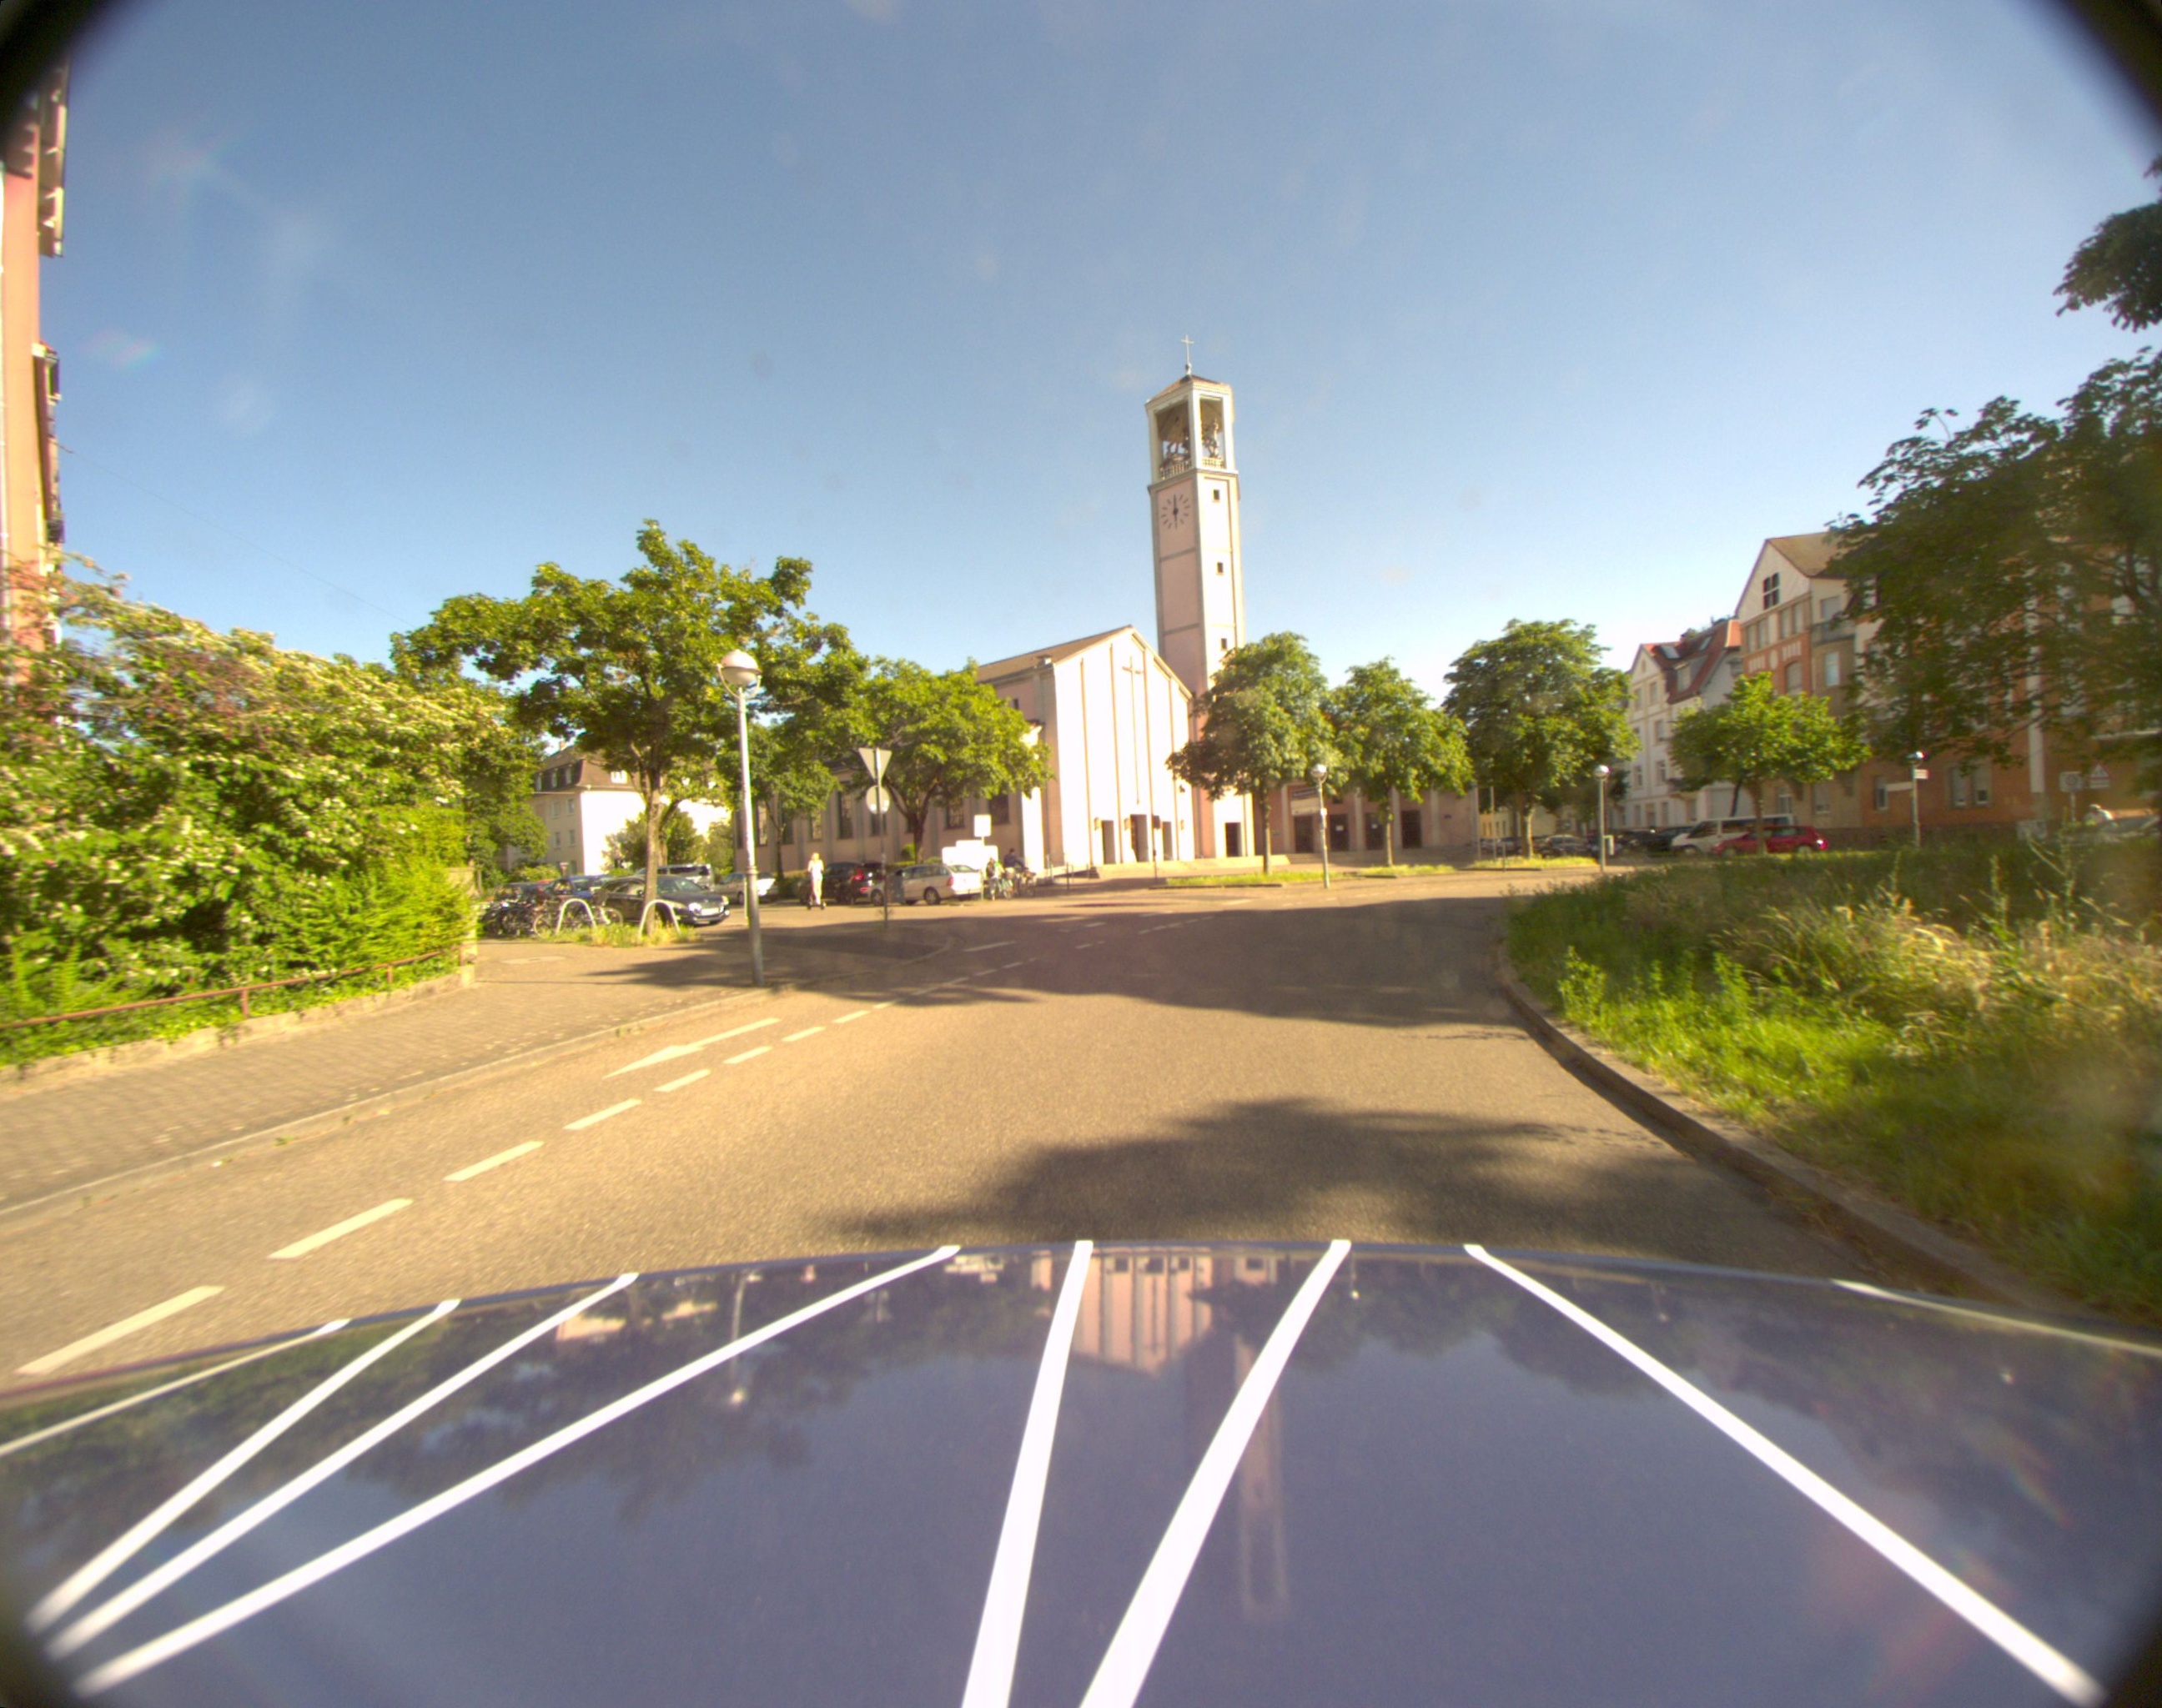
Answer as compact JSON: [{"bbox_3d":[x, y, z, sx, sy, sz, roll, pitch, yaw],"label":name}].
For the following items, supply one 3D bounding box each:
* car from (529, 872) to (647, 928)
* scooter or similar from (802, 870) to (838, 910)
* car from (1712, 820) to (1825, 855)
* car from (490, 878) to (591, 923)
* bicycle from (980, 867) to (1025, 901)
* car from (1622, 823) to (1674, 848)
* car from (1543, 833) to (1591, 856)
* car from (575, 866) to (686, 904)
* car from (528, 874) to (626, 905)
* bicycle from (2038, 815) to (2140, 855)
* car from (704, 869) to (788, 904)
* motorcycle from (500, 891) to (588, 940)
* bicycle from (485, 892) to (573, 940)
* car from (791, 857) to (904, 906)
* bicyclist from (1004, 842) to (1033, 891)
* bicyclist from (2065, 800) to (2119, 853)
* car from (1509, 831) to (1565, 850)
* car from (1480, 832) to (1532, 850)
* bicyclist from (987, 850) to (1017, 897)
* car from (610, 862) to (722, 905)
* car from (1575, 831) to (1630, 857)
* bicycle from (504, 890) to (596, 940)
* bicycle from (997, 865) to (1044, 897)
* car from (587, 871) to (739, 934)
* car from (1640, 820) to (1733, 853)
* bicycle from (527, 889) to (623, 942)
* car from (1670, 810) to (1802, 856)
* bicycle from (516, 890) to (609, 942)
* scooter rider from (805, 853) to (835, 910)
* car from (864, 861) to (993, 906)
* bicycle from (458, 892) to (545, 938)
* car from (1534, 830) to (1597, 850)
[{"bbox_3d":[-16.310,1.480,25.069,4.387,1.553,1.812,-2,3,38],"label":"car"},{"bbox_3d":[-8.587,1.185,25.016,1.103,1.275,0.633,-2,1,45],"label":"scooter or similar"},{"bbox_3d":[31.525,-0.728,34.901,1.672,1.427,3.686,-3,1,-44],"label":"car"},{"bbox_3d":[-20.540,1.732,28.801,4.387,1.442,1.812,-2,3,38],"label":"car"},{"bbox_3d":[-2.737,1.024,26.357,0.597,1.101,1.858,-4,2,-38],"label":"bicycle"},{"bbox_3d":[40.824,-1.317,54.800,1.758,1.648,3.960,-2,0,17],"label":"car"},{"bbox_3d":[31.906,-0.646,49.973,1.611,1.414,3.617,-2,0,16],"label":"car"},{"bbox_3d":[-24.393,1.642,41.276,1.805,1.830,4.789,-3,-1,37],"label":"car"},{"bbox_3d":[-31.666,2.205,47.867,1.805,1.734,4.789,-2,-1,34],"label":"car"},{"bbox_3d":[33.361,-0.617,25.187,1.865,1.191,0.766,-3,1,30],"label":"bicycle"},{"bbox_3d":[-15.410,1.492,34.809,4.327,1.465,1.813,-3,-1,41],"label":"car"},{"bbox_3d":[-13.402,1.515,19.017,0.499,1.100,1.730,-2,-1,31],"label":"motorcycle"},{"bbox_3d":[-13.924,1.540,19.204,0.499,1.100,1.730,-2,-1,31],"label":"bicycle"},{"bbox_3d":[-9.153,1.086,29.662,4.327,1.718,1.813,-3,0,33],"label":"car"},{"bbox_3d":[-2.238,0.459,27.293,0.721,1.705,0.647,-2,2,45],"label":"bicyclist"},{"bbox_3d":[33.418,-0.907,25.121,0.810,1.686,0.766,-3,1,30],"label":"bicyclist"},{"bbox_3d":[40.732,-1.171,67.934,1.764,1.488,3.945,-3,1,-39],"label":"car"},{"bbox_3d":[40.556,-1.247,72.604,1.764,1.488,3.945,-3,1,-39],"label":"car"},{"bbox_3d":[-2.742,0.659,26.336,0.597,1.572,0.802,-4,2,-38],"label":"bicyclist"},{"bbox_3d":[-21.631,1.489,39.812,1.805,1.989,4.789,-2,-1,34],"label":"car"},{"bbox_3d":[31.071,-0.620,45.407,1.611,1.414,3.617,-2,0,16],"label":"car"},{"bbox_3d":[-12.901,1.458,18.525,0.500,1.100,1.833,-2,-1,23],"label":"bicycle"},{"bbox_3d":[-2.181,0.968,27.279,1.712,1.101,0.647,-2,2,45],"label":"bicycle"},{"bbox_3d":[-11.827,1.341,21.429,4.327,1.475,1.812,-2,3,33],"label":"car"},{"bbox_3d":[34.613,-0.980,43.483,1.765,1.728,3.945,-3,1,-44],"label":"car"},{"bbox_3d":[-11.546,1.380,17.389,0.544,1.108,1.730,-2,-1,38],"label":"bicycle"},{"bbox_3d":[32.449,-1.016,37.751,1.997,2.033,4.693,-3,1,-41],"label":"car"},{"bbox_3d":[-12.235,1.429,17.973,0.544,1.108,1.730,-2,-1,38],"label":"bicycle"},{"bbox_3d":[-8.598,0.898,25.017,0.630,1.821,0.626,-2,1,45],"label":"scooter rider"},{"bbox_3d":[-5.335,1.035,26.466,4.327,1.407,1.813,-3,-1,33],"label":"car"},{"bbox_3d":[-15.271,1.577,20.054,0.514,1.100,1.730,-2,-1,35],"label":"bicycle"},{"bbox_3d":[39.423,-1.116,61.931,1.764,1.488,3.945,-3,1,-39],"label":"car"}]
